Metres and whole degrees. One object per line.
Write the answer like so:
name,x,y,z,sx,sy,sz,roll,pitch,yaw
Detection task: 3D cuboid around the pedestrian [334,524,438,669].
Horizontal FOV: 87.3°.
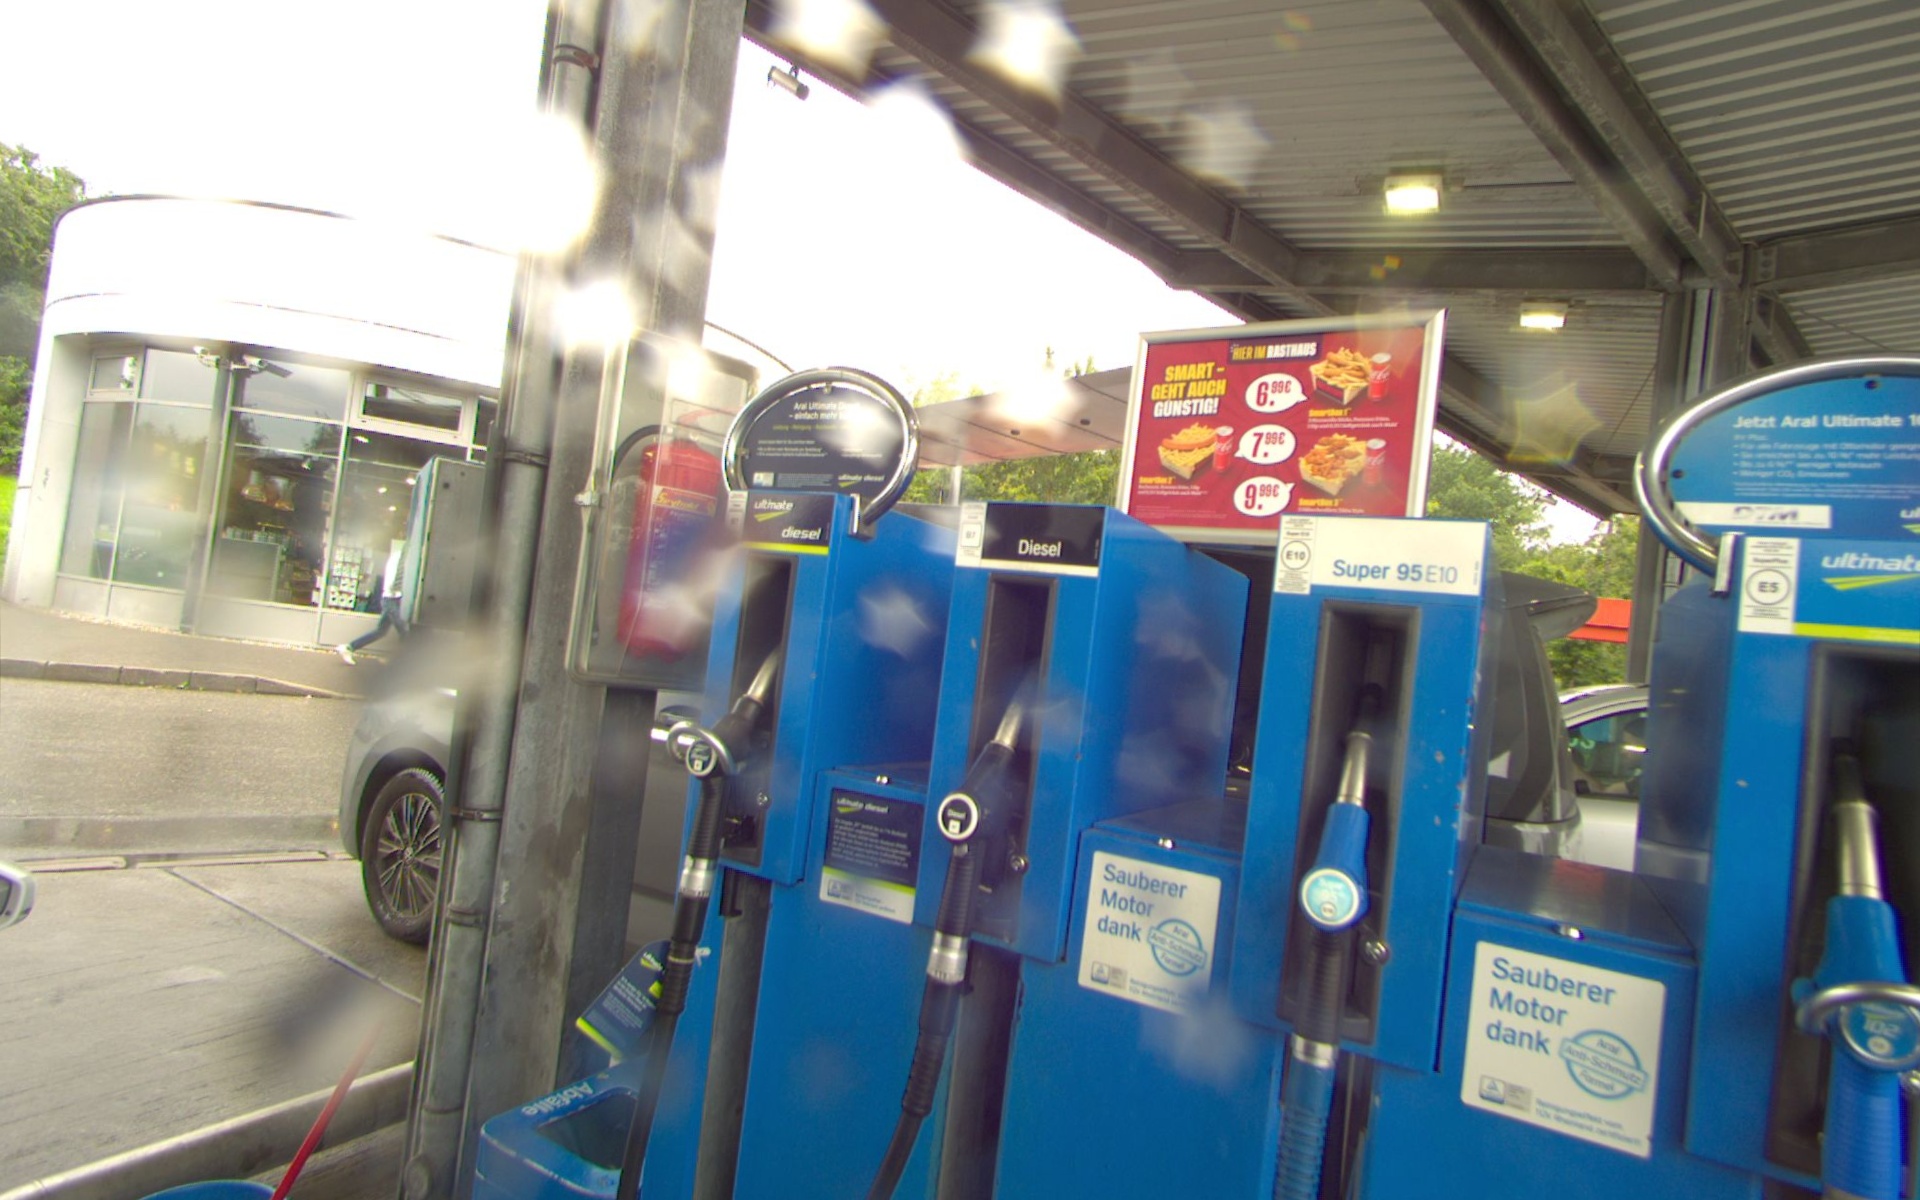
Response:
pedestrian,-6.724,-0.043,11.815,0.882,1.569,0.655,7,0,-29

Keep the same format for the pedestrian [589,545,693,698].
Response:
pedestrian,-4.259,0.278,13.432,0.990,1.887,0.793,7,0,-30

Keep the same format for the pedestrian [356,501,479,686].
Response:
pedestrian,-5.952,-0.064,11.057,0.965,1.871,0.767,7,0,-30

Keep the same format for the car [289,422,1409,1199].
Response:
car,-0.582,0.514,3.982,3.934,1.971,1.819,7,-1,32
